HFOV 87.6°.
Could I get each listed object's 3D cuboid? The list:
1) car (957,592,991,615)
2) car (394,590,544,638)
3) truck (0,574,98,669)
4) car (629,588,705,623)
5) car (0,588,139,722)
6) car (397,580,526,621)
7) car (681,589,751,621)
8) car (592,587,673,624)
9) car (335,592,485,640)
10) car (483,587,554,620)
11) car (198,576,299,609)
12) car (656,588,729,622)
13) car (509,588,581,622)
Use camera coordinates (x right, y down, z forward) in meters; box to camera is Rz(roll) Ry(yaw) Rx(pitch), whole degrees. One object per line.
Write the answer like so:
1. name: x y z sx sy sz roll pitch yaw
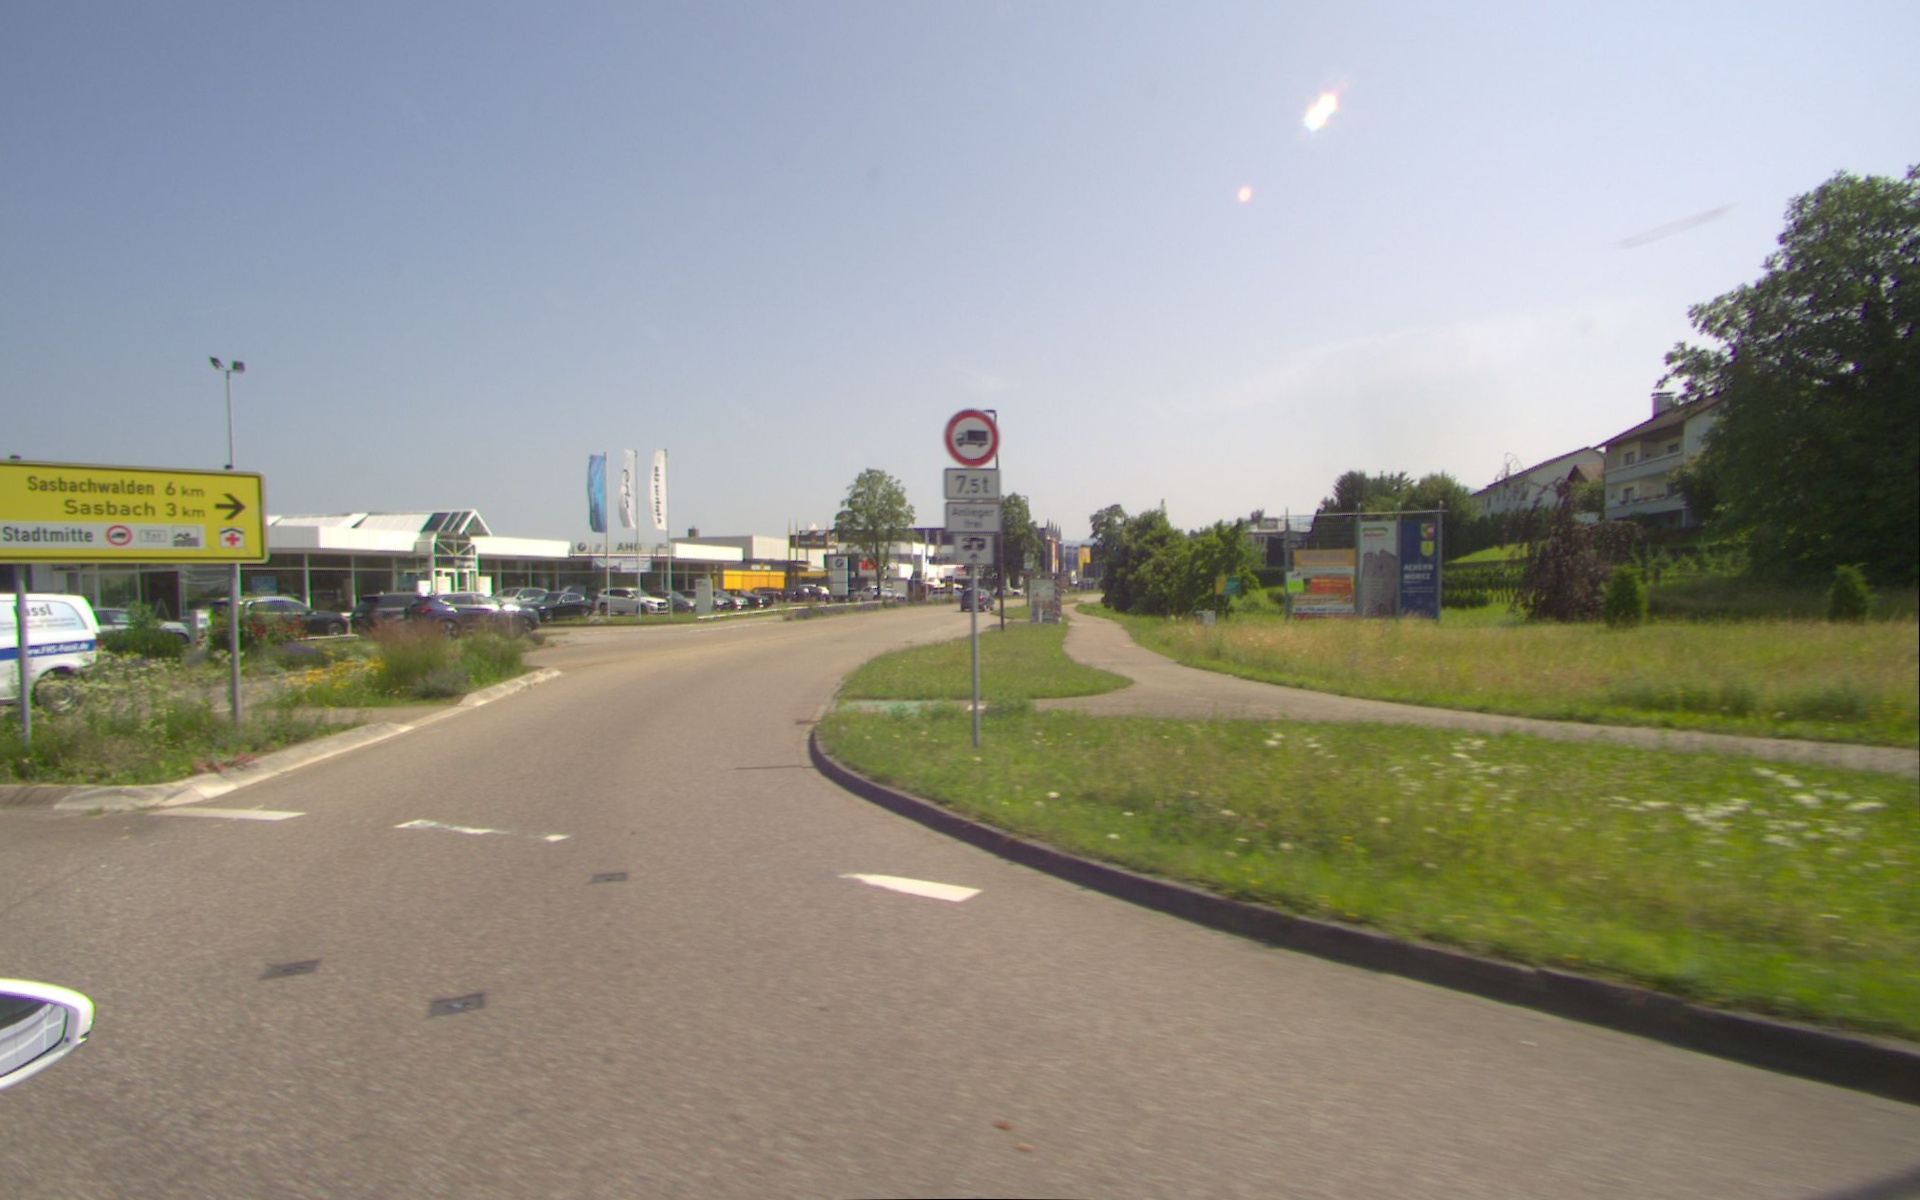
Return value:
1. car: 0.996 0.226 69.989 1.740 1.504 4.037 -1 1 10
2. car: -17.242 0.449 35.295 1.889 1.533 4.336 0 2 43
3. truck: -28.333 0.628 28.436 1.914 2.701 5.617 0 1 16
4. car: -18.517 0.337 63.337 4.183 2.040 1.998 -2 0 14
5. car: -15.112 0.837 14.196 1.827 1.963 5.223 -2 -1 16
6. car: -20.270 -0.025 40.833 1.889 1.533 4.336 0 2 43
7. car: -16.843 0.352 69.219 4.183 2.040 1.998 -2 0 14
8. car: -19.666 0.338 60.191 4.183 2.040 1.998 -2 0 14
9. car: -19.678 0.530 35.943 1.889 1.533 4.336 0 2 43
10. car: -23.906 0.217 54.293 1.552 1.676 3.694 -2 -1 14
11. car: -37.293 -0.421 52.613 1.875 1.607 4.034 -1 1 16
12. car: -17.656 0.342 66.205 4.183 2.040 1.998 -2 0 14
13. car: -21.583 0.271 52.247 1.552 1.676 3.694 -2 -1 14
